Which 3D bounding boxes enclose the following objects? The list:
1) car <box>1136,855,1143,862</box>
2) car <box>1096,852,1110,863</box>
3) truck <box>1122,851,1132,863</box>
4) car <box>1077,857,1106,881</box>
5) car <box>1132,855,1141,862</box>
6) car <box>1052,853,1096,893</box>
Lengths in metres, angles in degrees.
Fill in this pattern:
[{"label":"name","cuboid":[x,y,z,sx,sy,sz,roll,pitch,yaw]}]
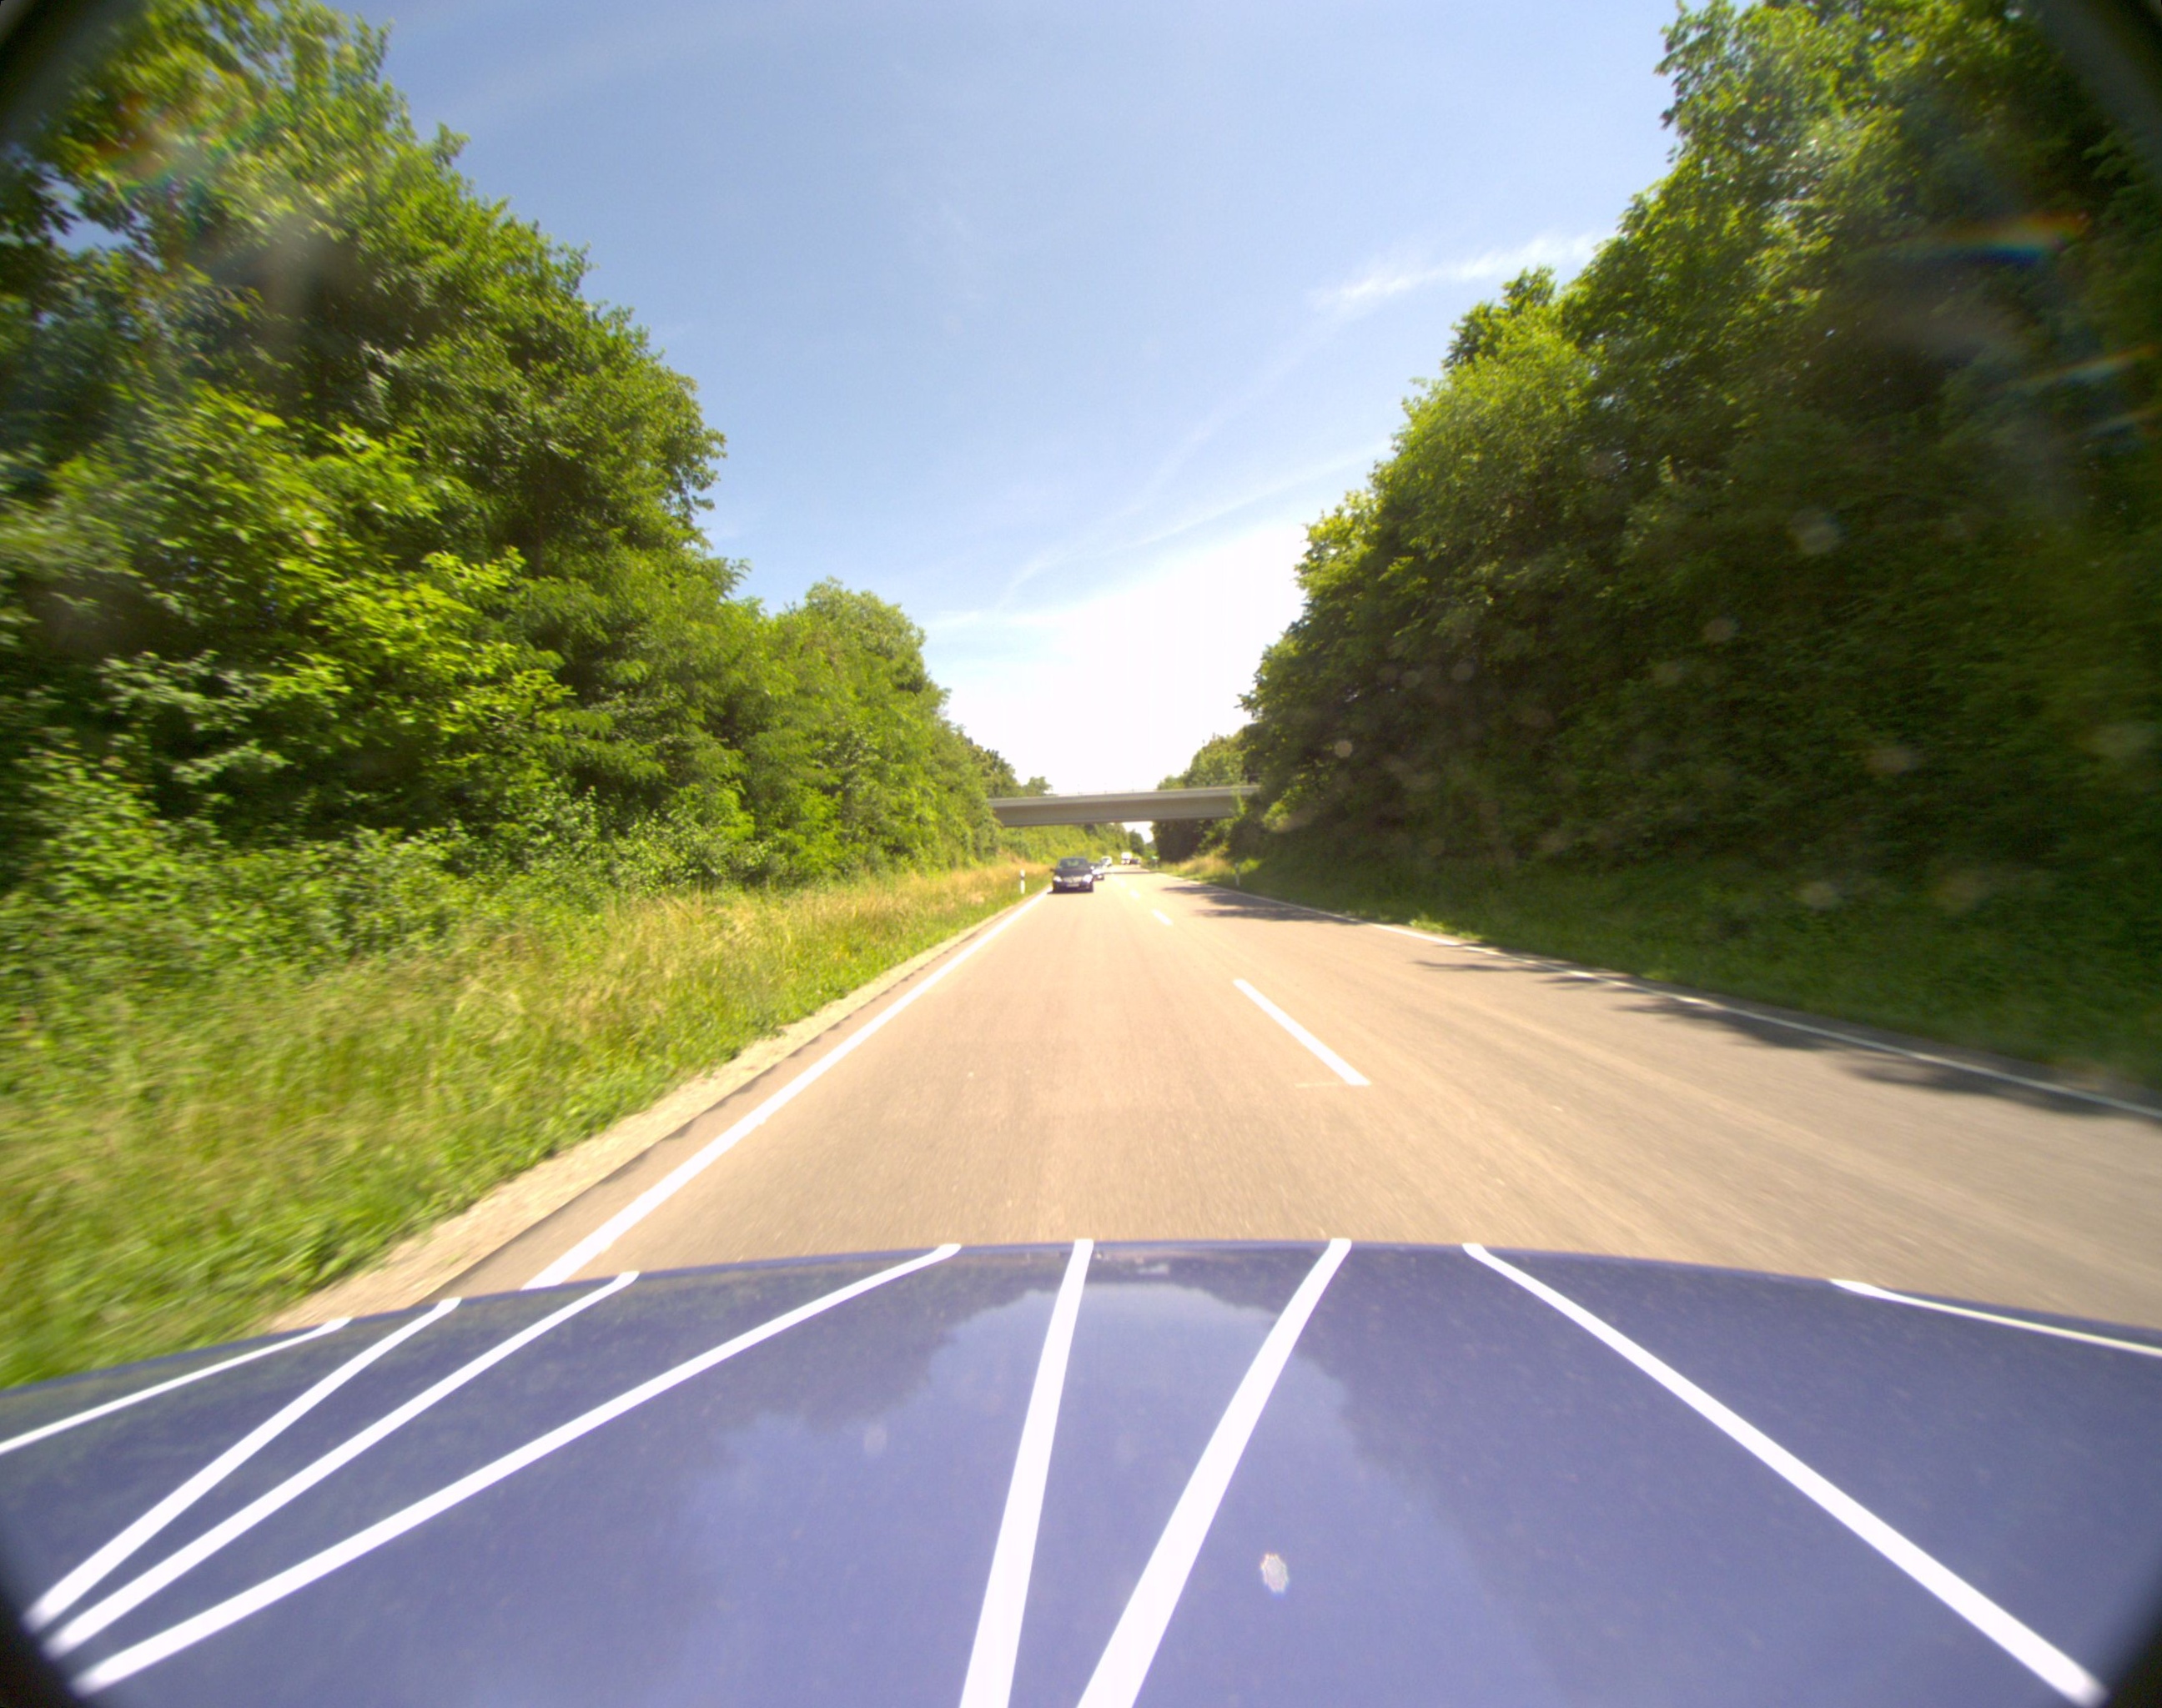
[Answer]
[{"label":"car","cuboid":[16.147,1.324,209.389,1.936,1.894,5.328,-2,0,3]},{"label":"car","cuboid":[3.581,0.548,123.912,2.045,1.743,4.166,-2,0,0]},{"label":"truck","cuboid":[14.192,0.873,234.966,2.576,3.111,11.202,-5,1,5]},{"label":"car","cuboid":[0.742,0.961,50.215,1.709,1.444,5.416,-2,0,2]},{"label":"car","cuboid":[12.473,0.950,170.792,1.863,1.497,4.587,-1,0,2]},{"label":"car","cuboid":[-0.245,0.831,34.590,1.783,1.676,4.779,-2,0,1]}]
